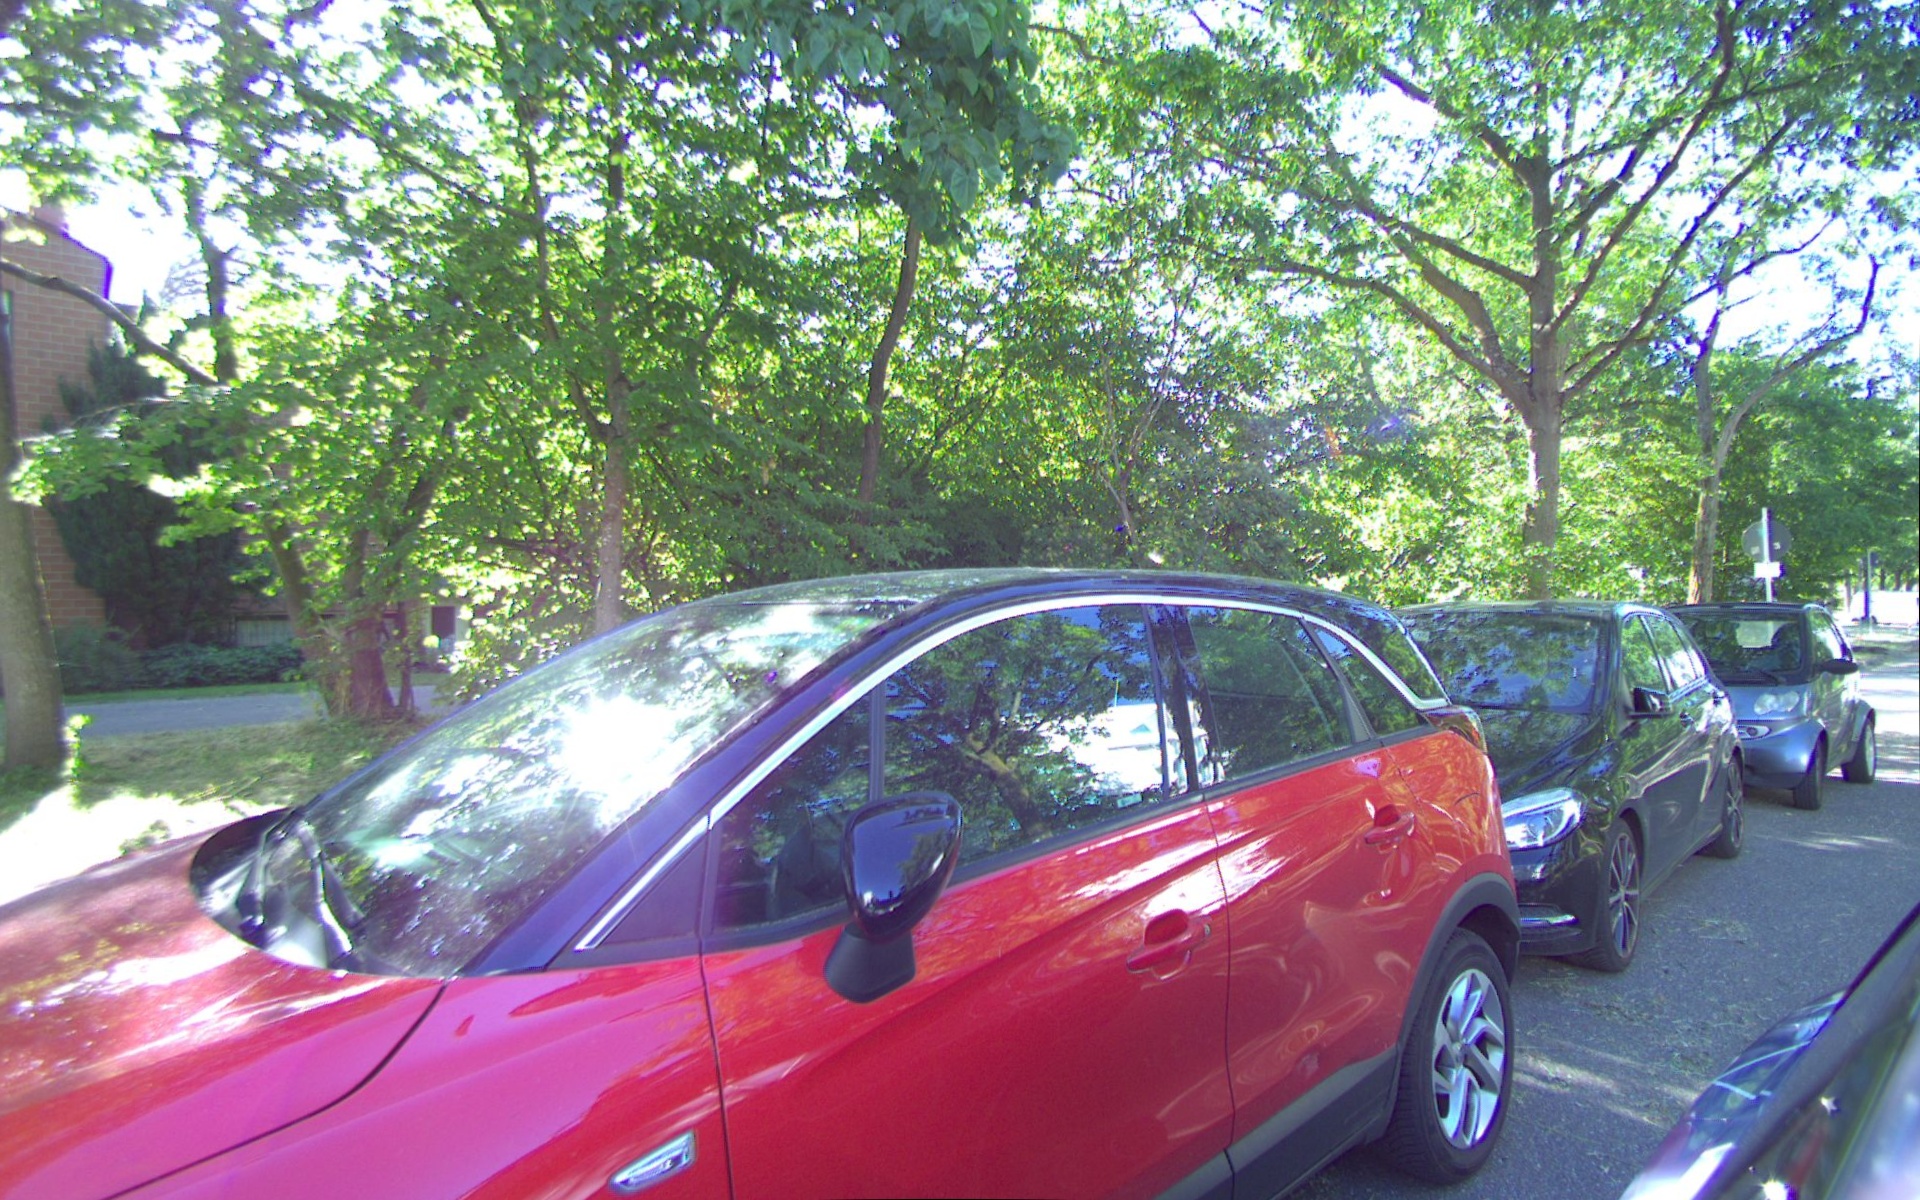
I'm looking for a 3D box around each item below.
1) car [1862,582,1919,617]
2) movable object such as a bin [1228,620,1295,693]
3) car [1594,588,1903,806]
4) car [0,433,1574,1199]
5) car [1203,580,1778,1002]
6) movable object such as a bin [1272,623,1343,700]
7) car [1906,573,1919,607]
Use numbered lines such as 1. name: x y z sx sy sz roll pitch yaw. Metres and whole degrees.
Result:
1. car: 57.214 0.000 60.103 1.966 2.030 5.262 0 1 -43
2. movable object such as a bin: 4.141 0.762 13.901 0.454 0.891 0.728 -7 6 -35
3. car: 6.693 0.686 8.545 2.629 1.528 1.497 0 -1 -39
4. car: -0.243 0.669 2.348 3.995 1.594 1.681 0 -1 -41
5. car: 3.234 0.698 5.733 4.081 1.528 1.713 0 -1 -44
6. movable object such as a bin: 4.559 0.791 13.291 0.454 0.891 0.728 -7 6 -35
7. car: 76.694 -0.741 78.784 4.401 2.578 1.858 2 1 45
